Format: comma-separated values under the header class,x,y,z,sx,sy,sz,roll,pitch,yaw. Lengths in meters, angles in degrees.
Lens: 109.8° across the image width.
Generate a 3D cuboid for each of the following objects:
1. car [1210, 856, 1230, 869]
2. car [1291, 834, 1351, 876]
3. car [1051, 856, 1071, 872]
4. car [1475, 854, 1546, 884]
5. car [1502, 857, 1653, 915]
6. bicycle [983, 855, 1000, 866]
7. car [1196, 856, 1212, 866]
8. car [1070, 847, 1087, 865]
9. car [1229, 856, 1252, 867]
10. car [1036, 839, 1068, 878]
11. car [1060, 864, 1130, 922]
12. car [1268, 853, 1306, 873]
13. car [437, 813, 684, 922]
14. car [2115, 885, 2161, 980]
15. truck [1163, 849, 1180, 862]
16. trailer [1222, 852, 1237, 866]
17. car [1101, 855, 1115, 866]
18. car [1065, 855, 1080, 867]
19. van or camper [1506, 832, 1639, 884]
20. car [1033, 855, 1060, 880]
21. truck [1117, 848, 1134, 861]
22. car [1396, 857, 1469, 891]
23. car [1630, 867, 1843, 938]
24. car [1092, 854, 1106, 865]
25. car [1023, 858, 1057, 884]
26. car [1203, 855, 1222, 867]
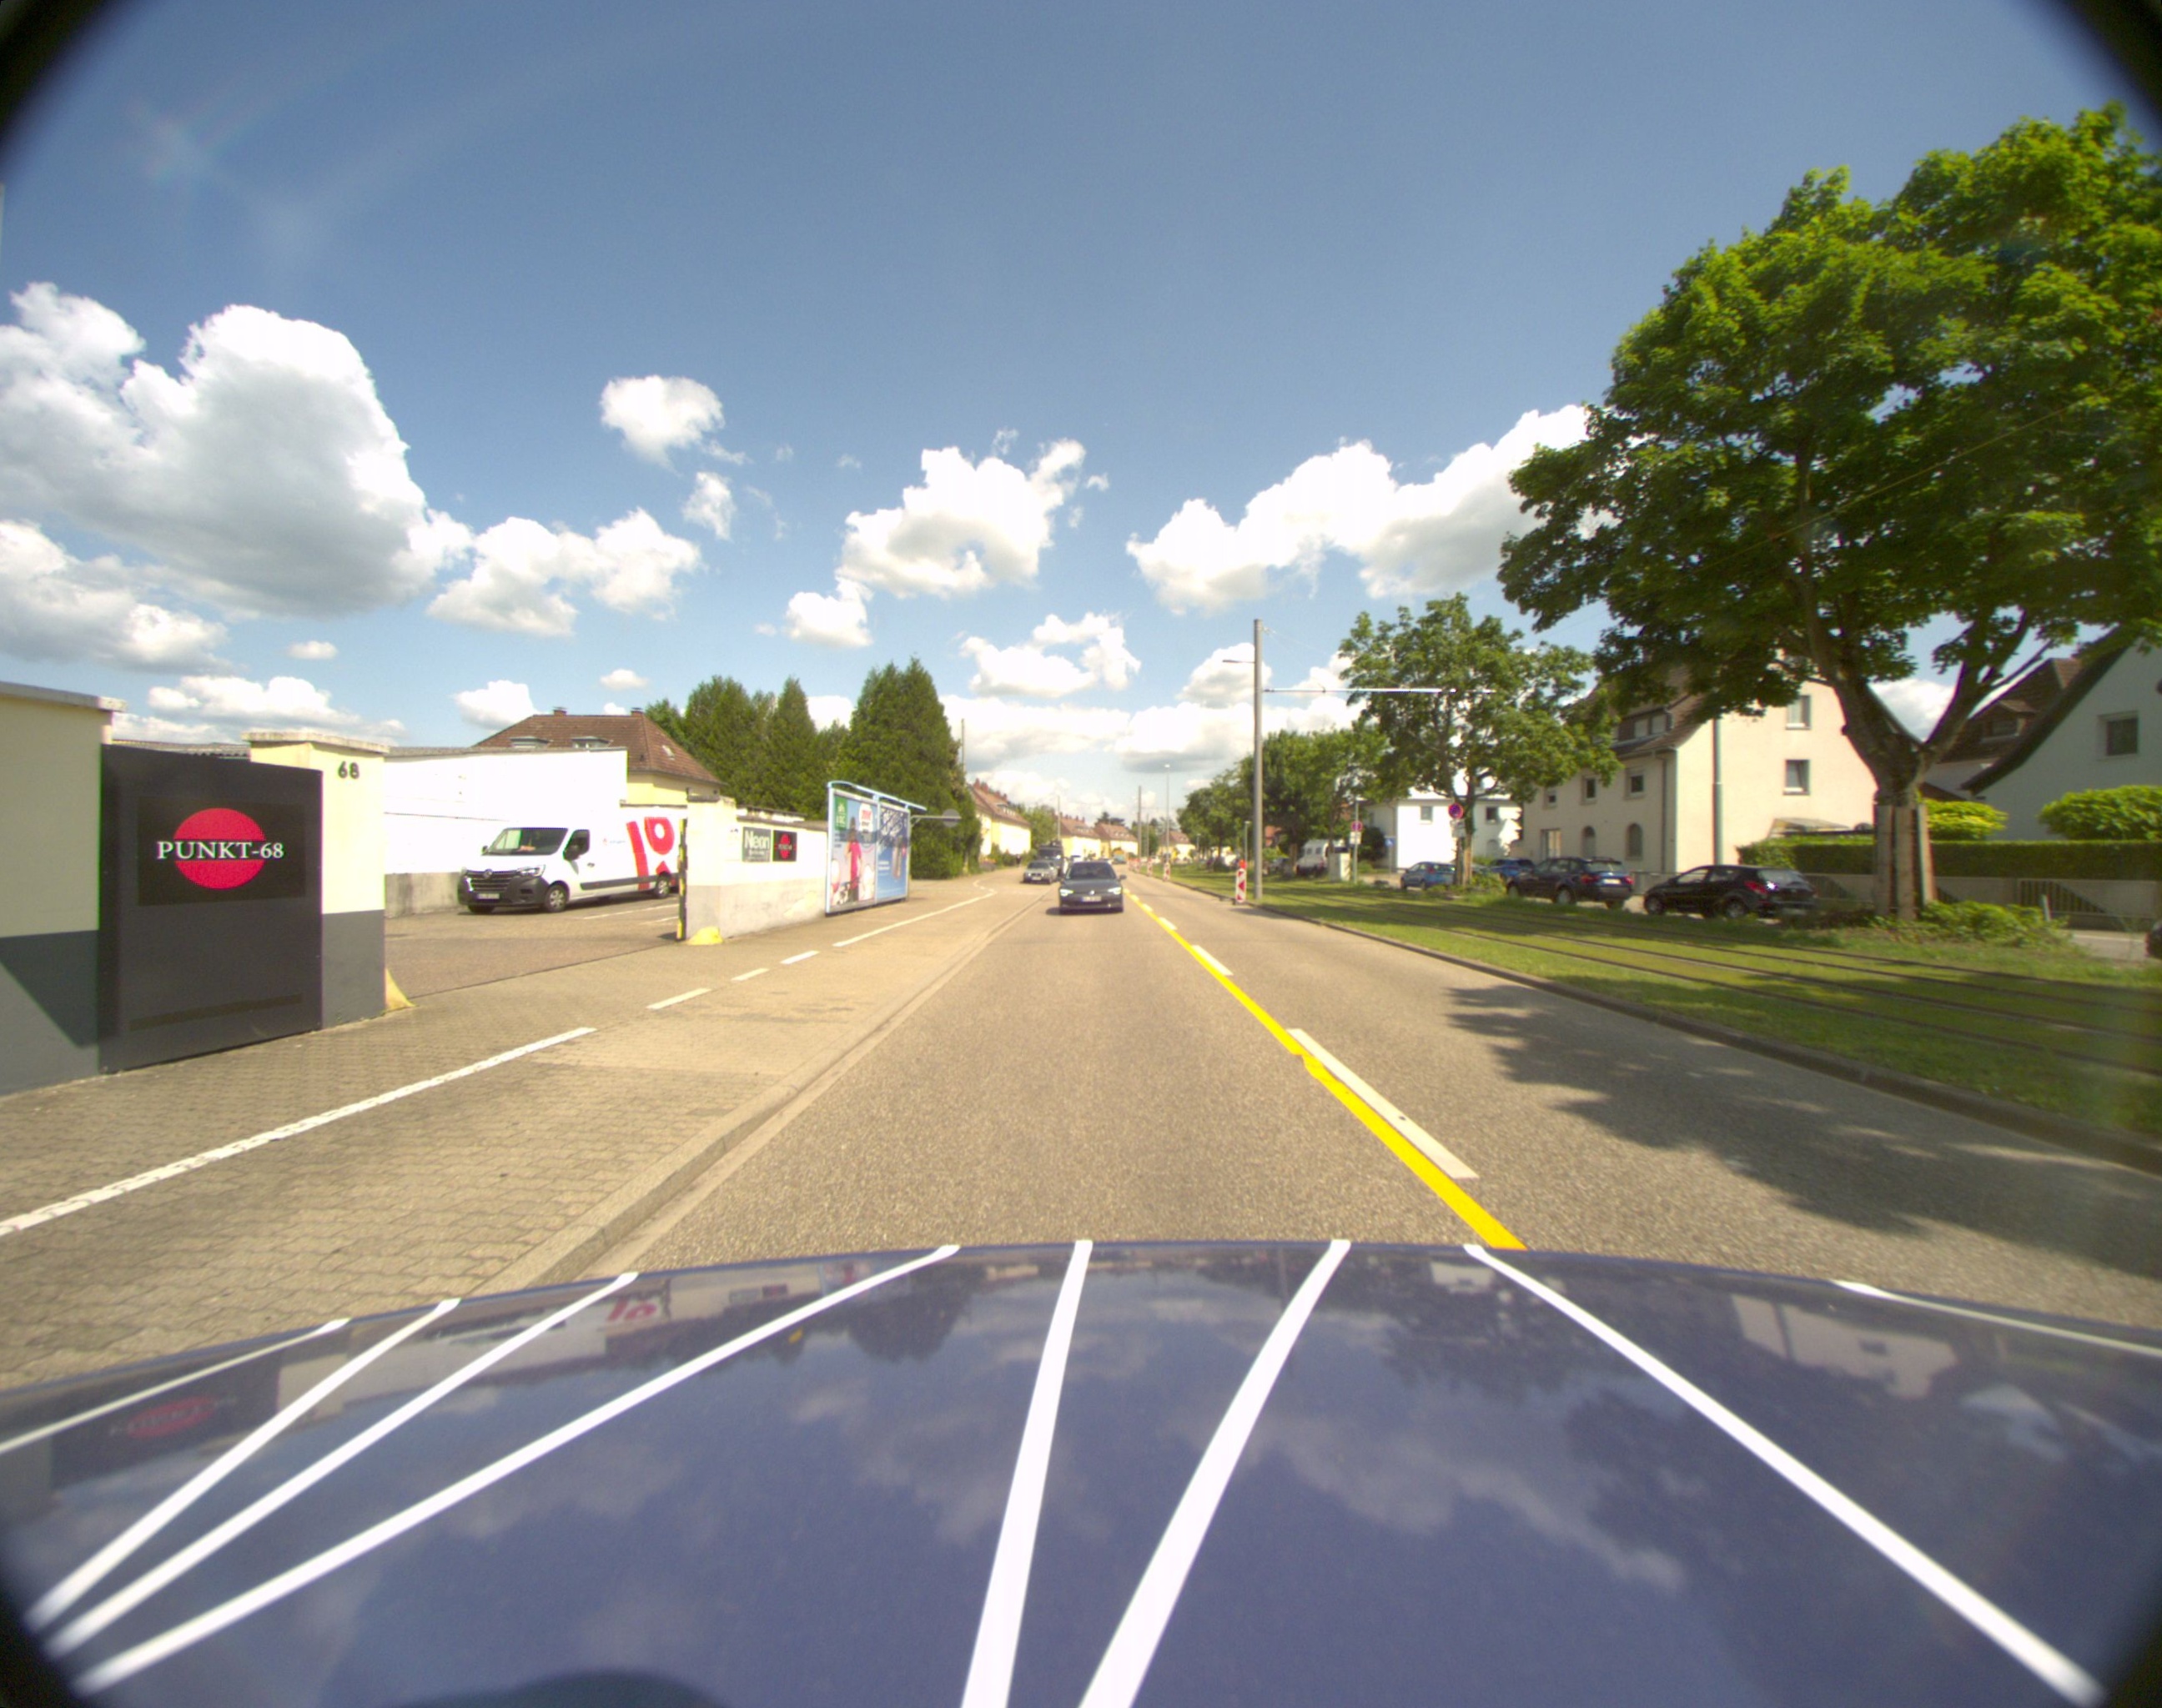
class,x,y,z,sx,sy,sz,roll,pitch,yaw
car,17.785,1.106,97.313,1.910,1.568,4.102,4,-1,2
car,16.607,0.061,53.025,1.999,2.714,6.462,1,0,-1
car,-1.912,0.926,73.788,1.653,1.410,4.026,1,0,2
car,25.163,0.835,44.664,1.907,1.568,4.000,1,1,1
car,16.350,0.979,25.361,1.999,1.681,4.390,1,1,-2
bicycle,-9.172,0.649,77.563,1.693,1.096,0.290,0,1,1
car,19.562,1.113,121.175,1.998,1.531,4.323,1,1,4
car,-0.385,0.343,110.893,1.923,2.522,5.346,1,0,5
car,17.095,0.752,81.587,1.785,1.087,3.836,1,1,1
car,-2.110,0.299,56.411,2.001,2.744,4.878,1,0,1
car,0.338,1.009,21.368,1.786,1.412,4.289,0,0,-1
car,16.798,0.727,62.211,1.998,1.497,4.486,1,1,1
car,-13.268,0.190,20.107,1.998,2.430,6.171,0,2,2
car,16.163,1.173,9.190,1.998,1.310,3.852,3,1,1
truck,24.565,0.369,205.631,2.698,3.346,8.063,2,0,21
trailer,16.992,0.571,87.158,1.302,1.510,2.282,1,1,1
car,4.589,1.020,128.005,1.997,1.791,4.002,0,0,6
car,-1.095,0.860,97.755,1.756,1.480,4.628,2,0,1
van or camper,31.340,0.247,48.665,6.744,3.203,2.634,1,0,1
car,-2.259,0.891,50.513,1.696,1.507,4.355,1,1,-1
truck,10.294,0.038,175.756,2.530,2.931,7.868,1,1,12
car,16.347,0.896,35.589,1.758,1.427,3.889,1,1,3
car,16.528,1.153,19.489,1.998,1.430,3.999,2,1,1
car,2.491,0.776,106.663,1.998,1.566,4.000,0,0,1
car,-2.435,0.976,45.604,1.655,1.423,4.096,1,1,2
car,17.701,0.931,102.530,1.998,1.531,4.322,1,1,2
